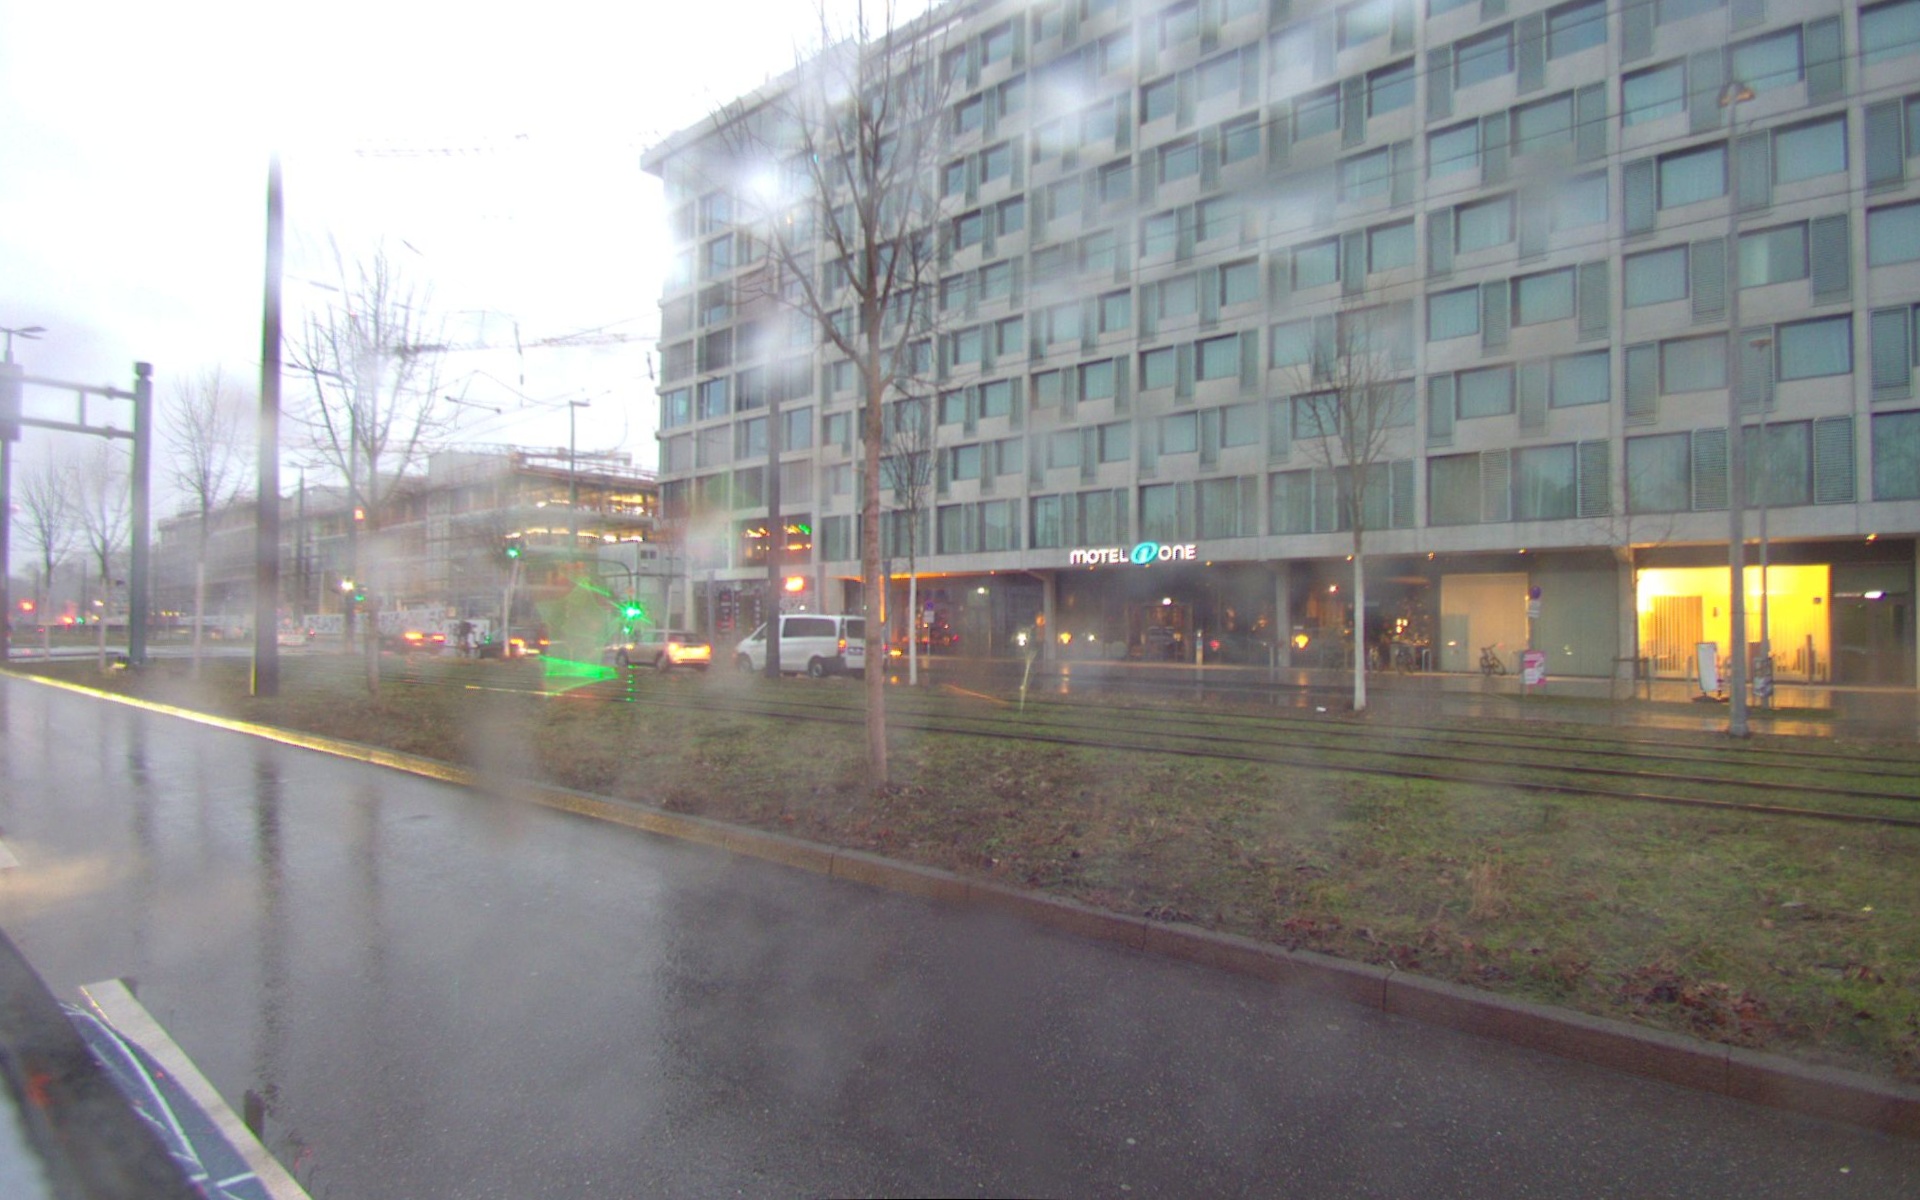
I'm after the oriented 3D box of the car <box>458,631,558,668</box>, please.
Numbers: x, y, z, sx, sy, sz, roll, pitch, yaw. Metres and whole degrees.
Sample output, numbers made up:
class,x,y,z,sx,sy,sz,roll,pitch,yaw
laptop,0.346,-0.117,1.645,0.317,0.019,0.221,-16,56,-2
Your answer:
class,x,y,z,sx,sy,sz,roll,pitch,yaw
car,-18.533,1.997,41.455,4.254,1.411,2.084,-1,-3,40

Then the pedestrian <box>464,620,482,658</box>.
class,x,y,z,sx,sy,sz,roll,pitch,yaw
pedestrian,-24.090,1.916,50.080,0.698,1.818,0.772,-1,0,-32

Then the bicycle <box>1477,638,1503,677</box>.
class,x,y,z,sx,sy,sz,roll,pitch,yaw
bicycle,18.060,1.945,34.471,0.465,1.247,1.520,-1,0,39

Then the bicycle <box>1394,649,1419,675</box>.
class,x,y,z,sx,sy,sz,roll,pitch,yaw
bicycle,15.804,2.181,35.795,0.465,0.860,1.332,-1,0,39

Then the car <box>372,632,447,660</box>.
class,x,y,z,sx,sy,sz,roll,pitch,yaw
car,-26.457,2.163,48.588,3.997,1.284,1.793,-1,-3,40

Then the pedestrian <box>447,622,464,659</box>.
class,x,y,z,sx,sy,sz,roll,pitch,yaw
pedestrian,-24.857,1.984,49.864,0.698,1.818,0.772,-1,0,-28

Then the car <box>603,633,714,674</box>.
class,x,y,z,sx,sy,sz,roll,pitch,yaw
car,-10.335,1.788,34.561,3.998,1.317,1.793,-1,-3,41

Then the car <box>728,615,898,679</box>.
class,x,y,z,sx,sy,sz,roll,pitch,yaw
car,-4.294,1.318,29.013,5.041,1.682,2.060,-1,-3,41
